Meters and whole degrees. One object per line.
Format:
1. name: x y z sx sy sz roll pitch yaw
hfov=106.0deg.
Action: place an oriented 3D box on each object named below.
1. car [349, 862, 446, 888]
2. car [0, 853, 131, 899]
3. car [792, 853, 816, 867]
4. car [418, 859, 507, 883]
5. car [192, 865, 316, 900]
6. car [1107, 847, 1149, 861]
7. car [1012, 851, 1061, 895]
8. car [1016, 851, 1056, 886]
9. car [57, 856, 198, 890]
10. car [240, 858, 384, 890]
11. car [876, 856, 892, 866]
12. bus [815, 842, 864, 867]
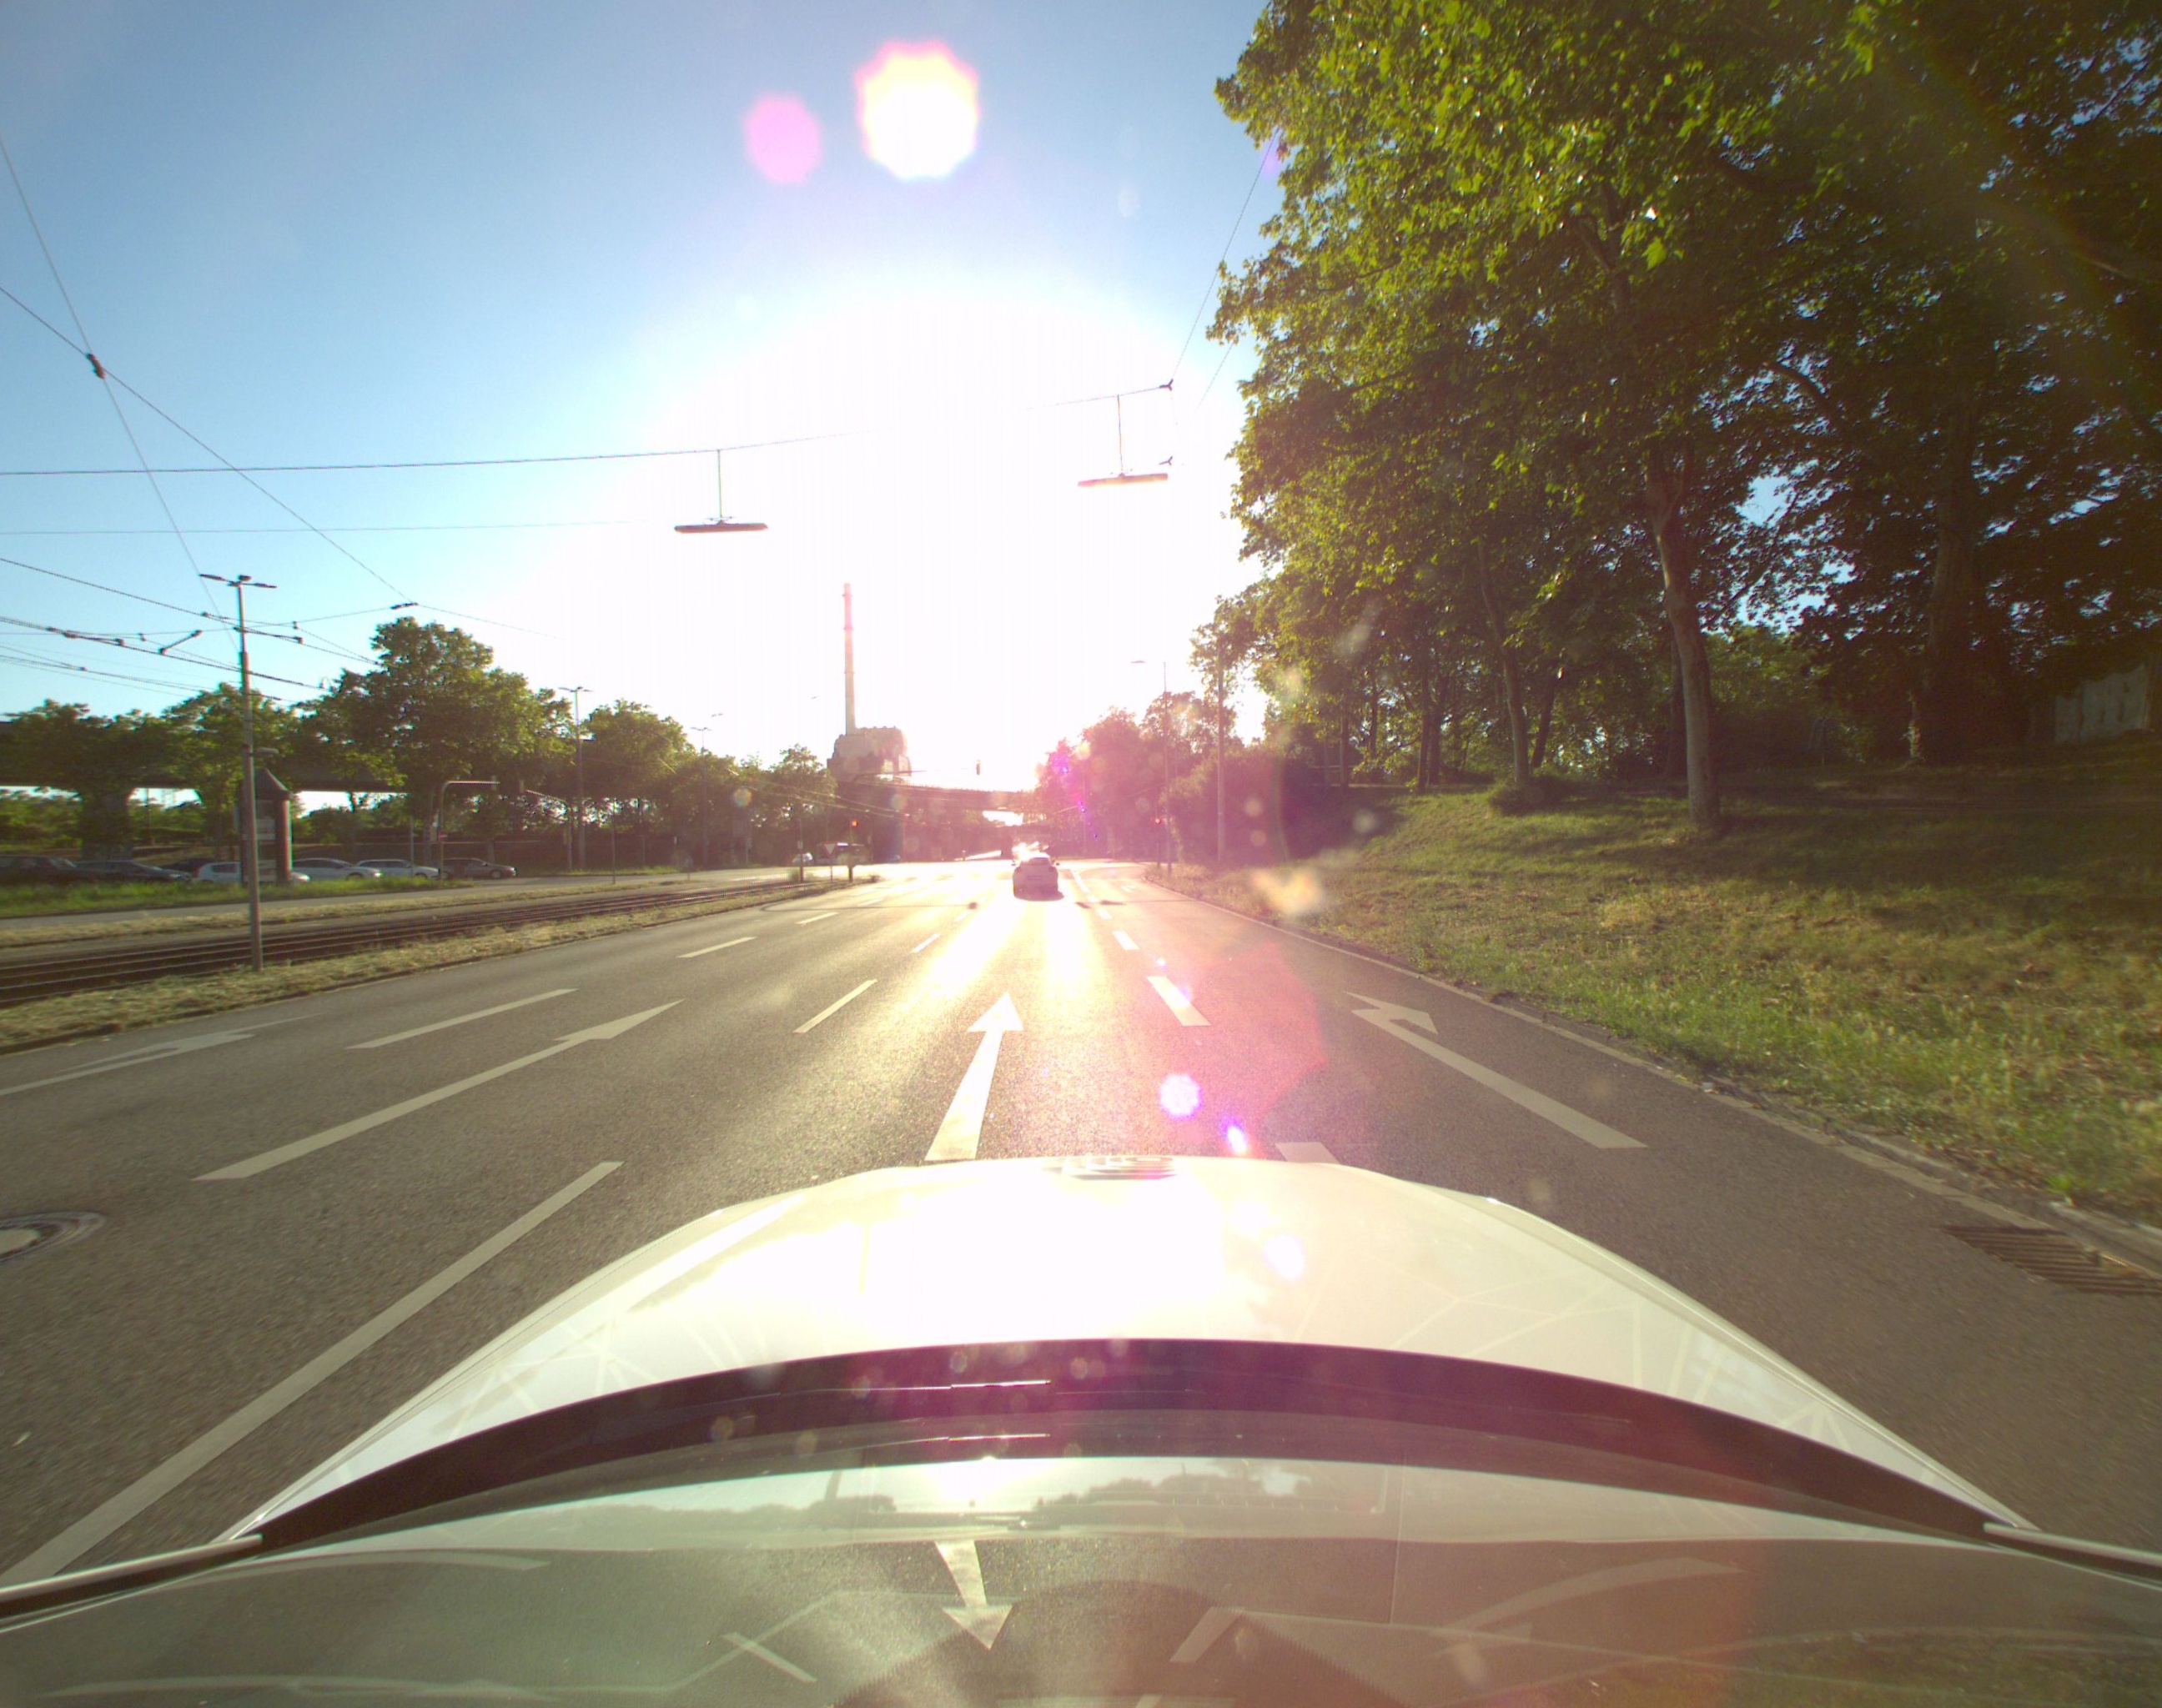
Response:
1. car: -40.802 1.213 48.732 4.209 1.405 1.655 -1 0 -30
2. car: -47.123 0.979 36.844 4.962 1.991 2.016 -1 0 -33
3. car: -31.994 0.689 94.076 1.603 1.512 4.003 0 0 -3
4. car: -40.263 1.095 53.162 4.461 1.405 1.654 -1 0 -33
5. car: -41.215 1.379 40.708 4.010 1.574 1.678 -1 0 -28
6. car: 5.440 -0.009 94.644 4.590 1.574 1.683 0 0 -19
7. car: -1.722 0.689 31.601 1.732 1.505 3.996 -1 1 -3
8. car: -2.130 0.618 37.916 1.711 1.465 4.200 -1 1 -5
9. car: -47.684 0.906 40.857 4.261 1.574 1.678 -1 0 -29
10. car: -41.589 1.071 44.233 5.376 1.574 1.726 -1 0 -26
11. car: -32.022 1.125 132.746 1.601 1.419 4.007 0 0 0
12. bus: -32.114 0.143 109.028 2.534 3.130 12.918 -1 -1 1
